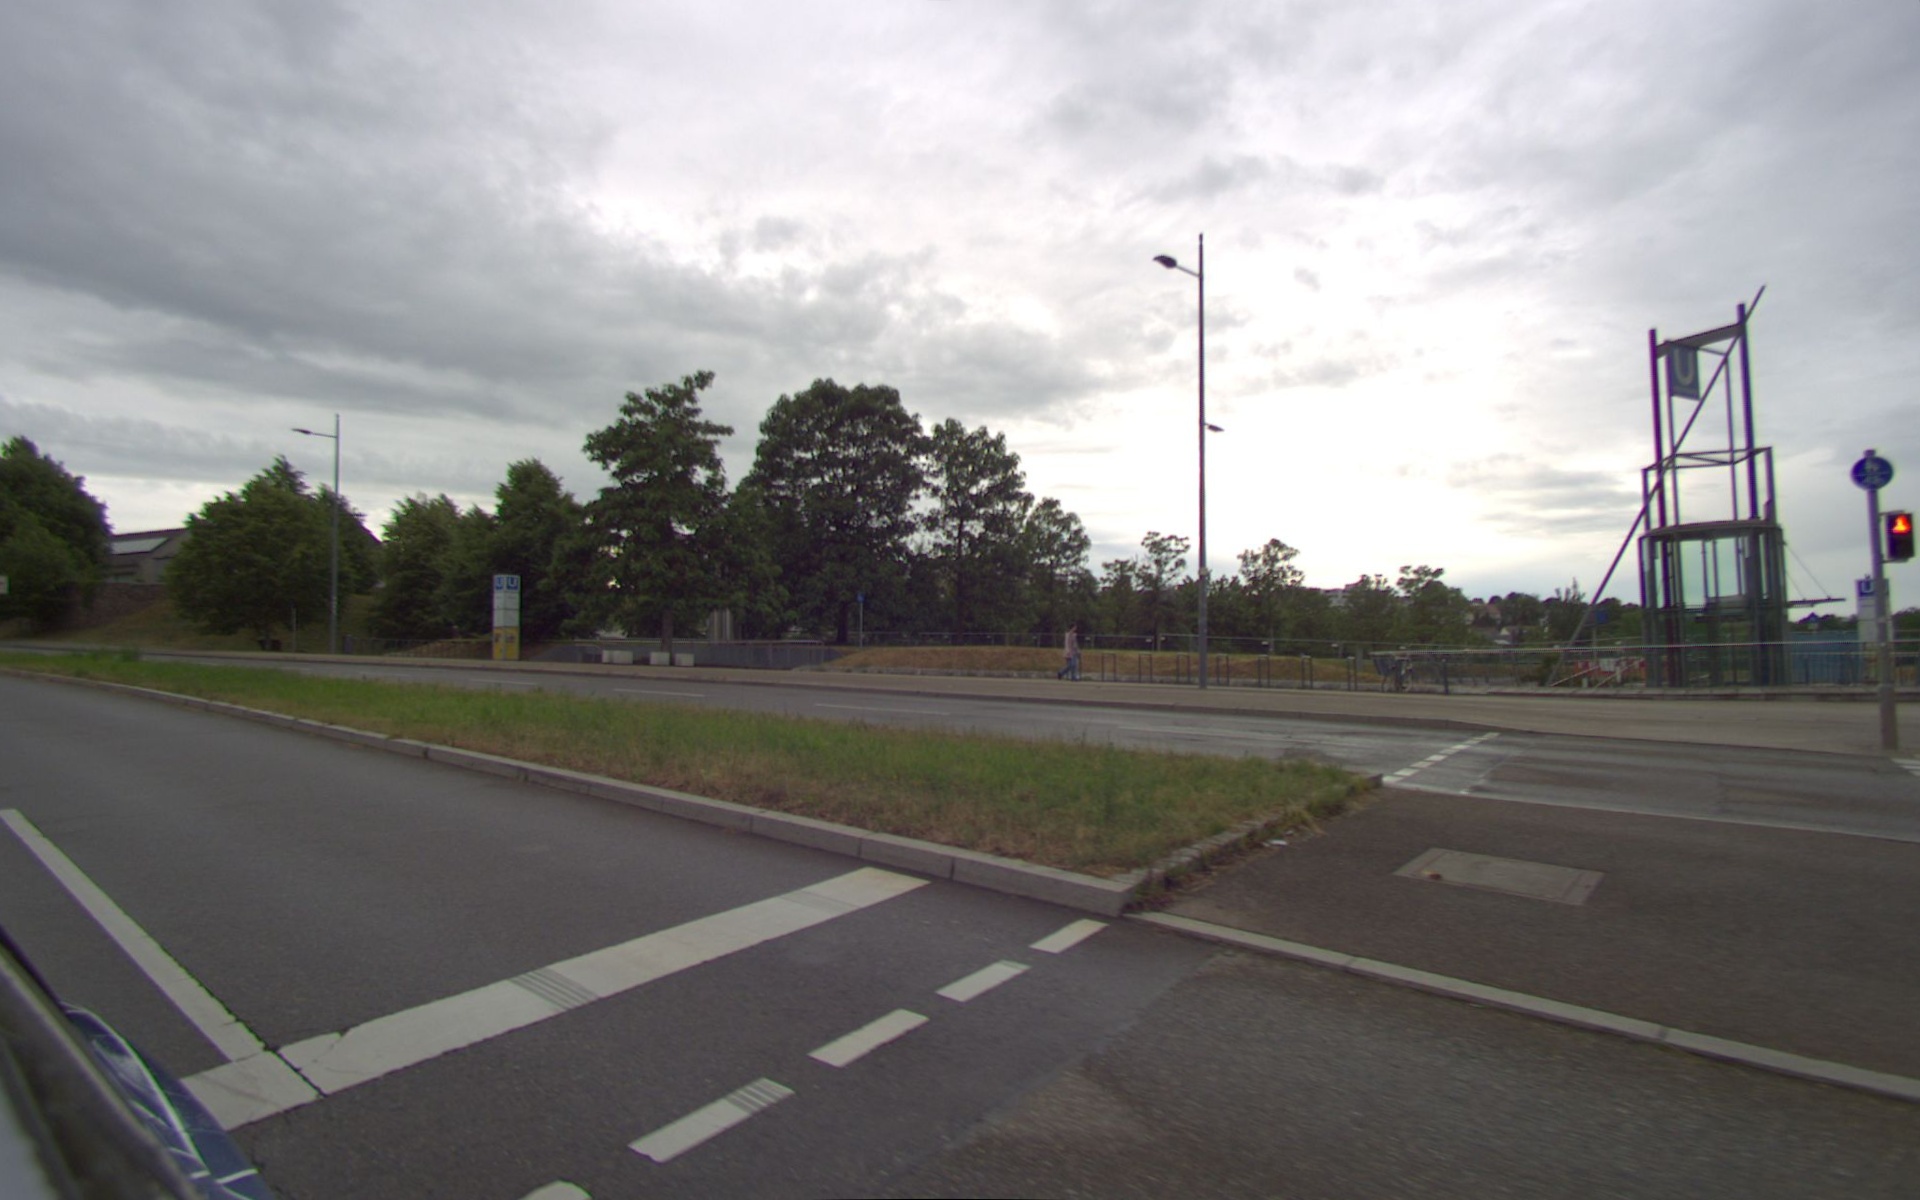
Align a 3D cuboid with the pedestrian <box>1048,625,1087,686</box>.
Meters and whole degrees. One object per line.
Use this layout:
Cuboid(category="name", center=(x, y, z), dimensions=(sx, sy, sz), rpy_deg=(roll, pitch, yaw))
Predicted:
Cuboid(category="pedestrian", center=(2.944, 1.524, 27.707), dimensions=(0.811, 1.606, 0.608), rpy_deg=(-4, -5, 36))
